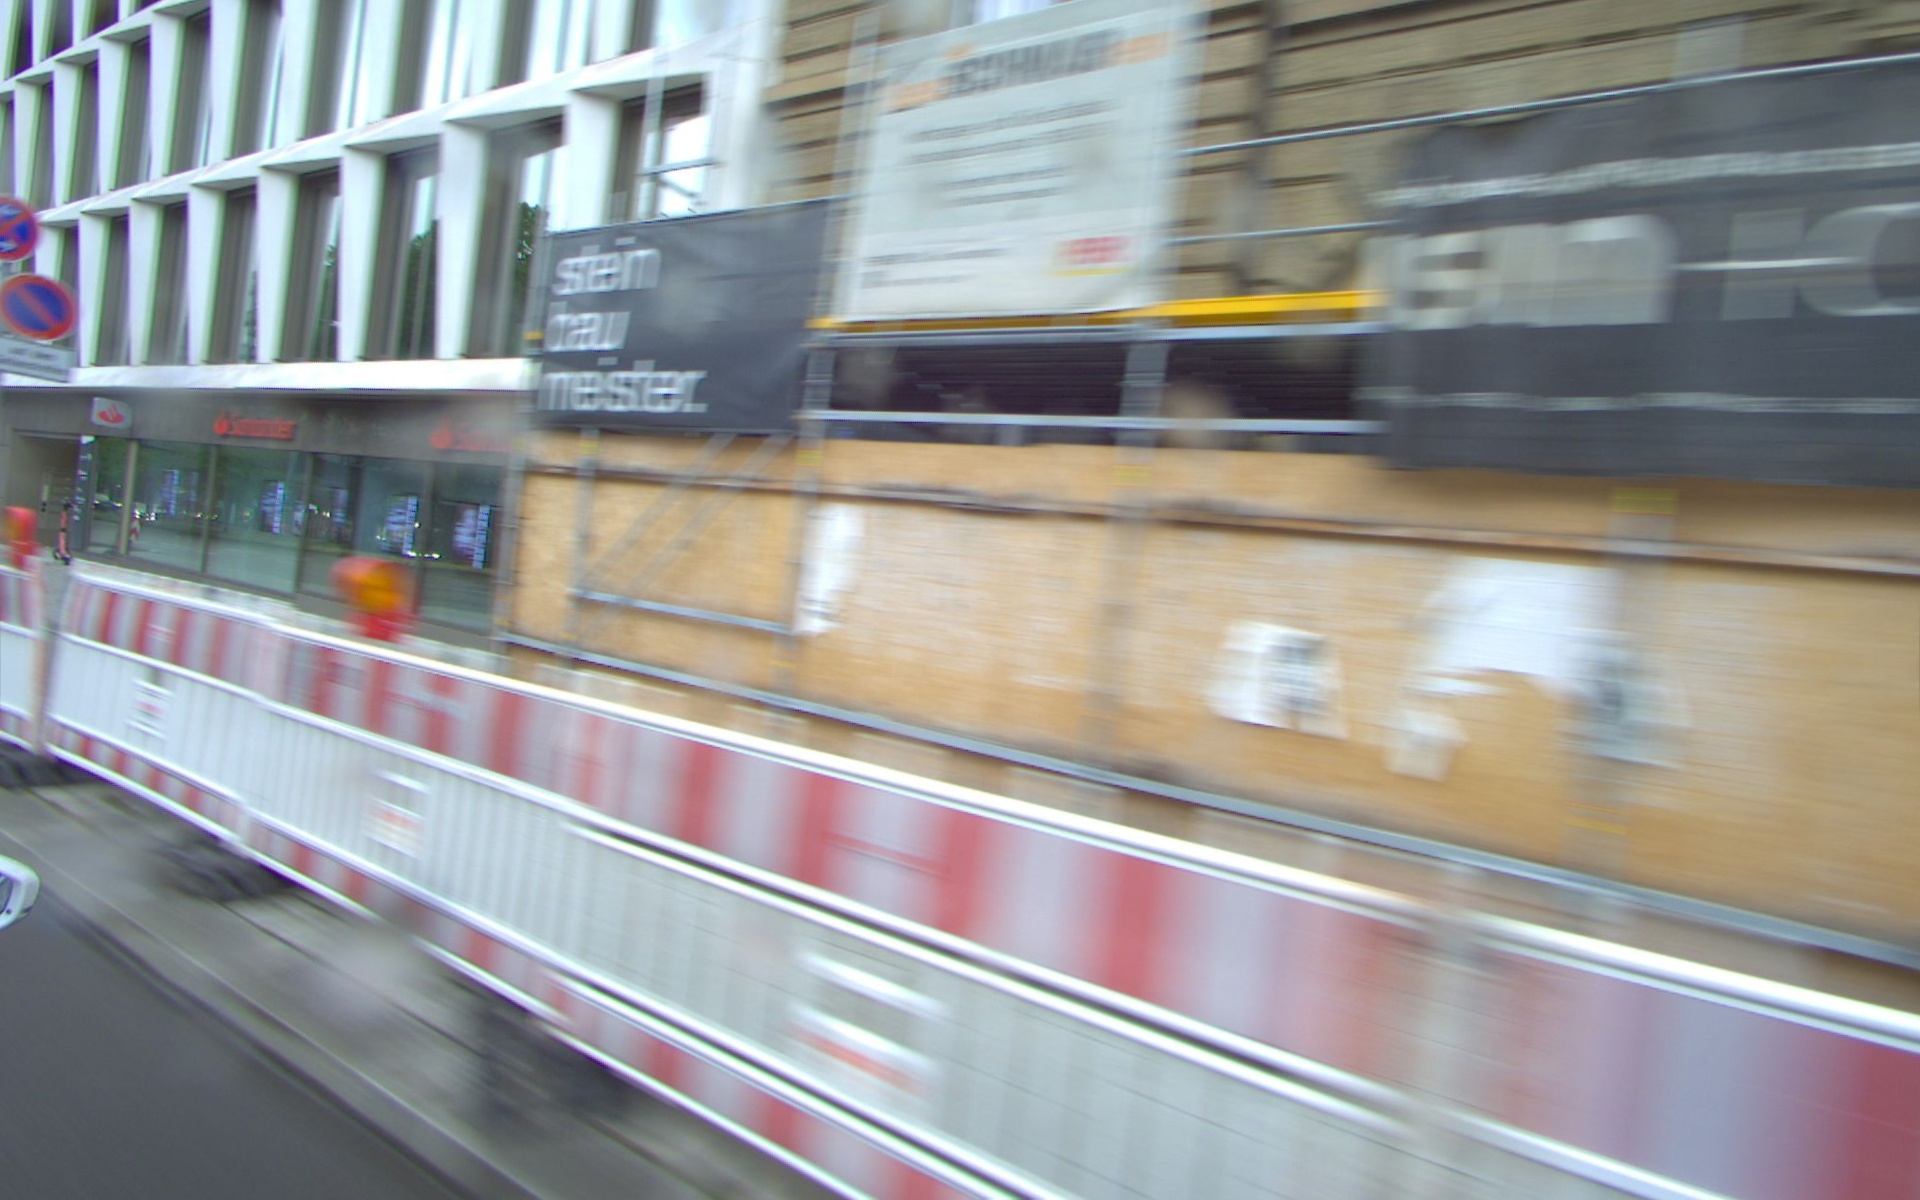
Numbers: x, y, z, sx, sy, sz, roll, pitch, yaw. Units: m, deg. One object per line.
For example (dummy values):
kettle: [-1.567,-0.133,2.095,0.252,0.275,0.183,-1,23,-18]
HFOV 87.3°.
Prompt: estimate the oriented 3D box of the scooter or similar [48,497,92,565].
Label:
scooter or similar: [-17.750,-1.383,20.047,1.172,1.251,0.411,7,0,41]
